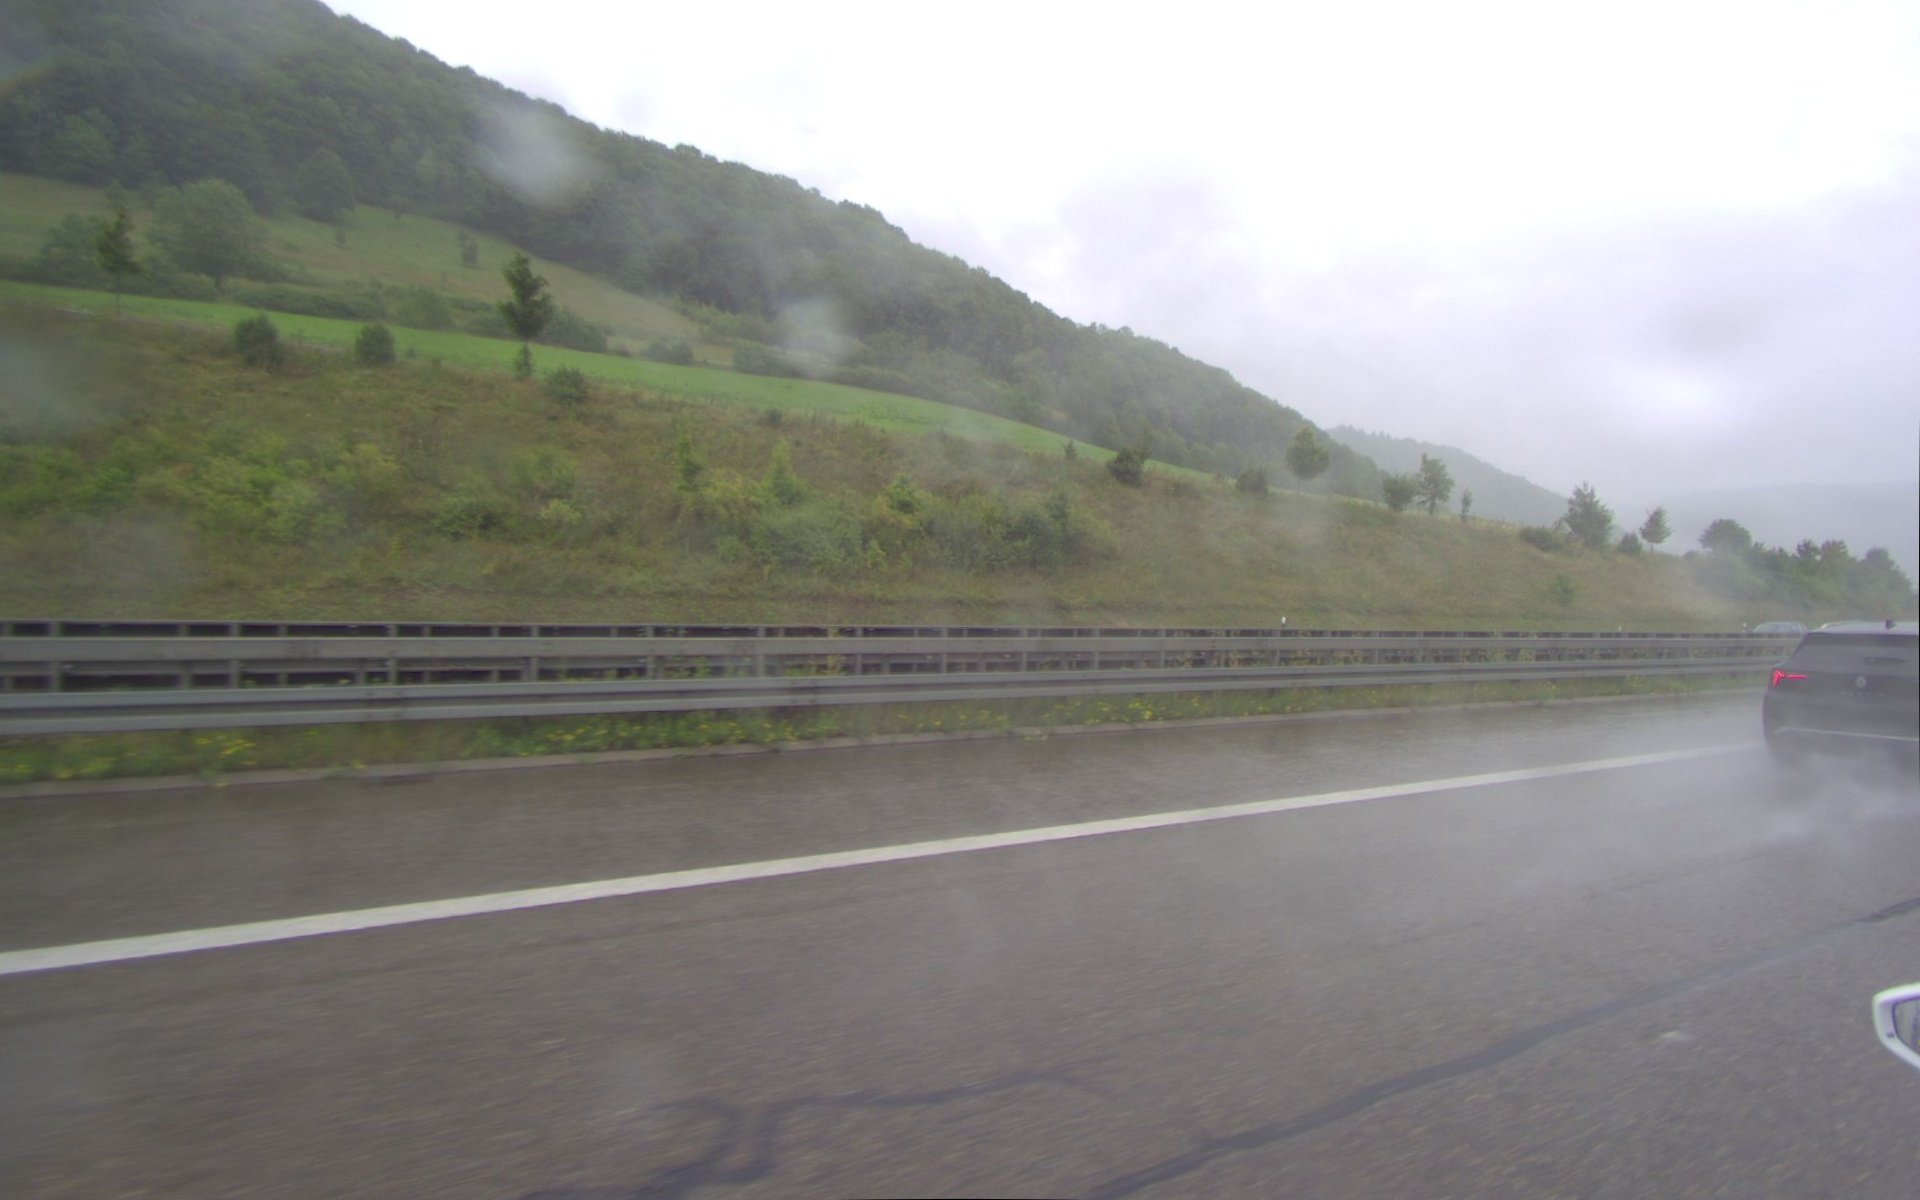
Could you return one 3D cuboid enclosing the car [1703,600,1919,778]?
[{"bbox_3d":[10.259,0.854,10.600,4.733,1.536,2.391,2,1,-34],"label":"car"}]
